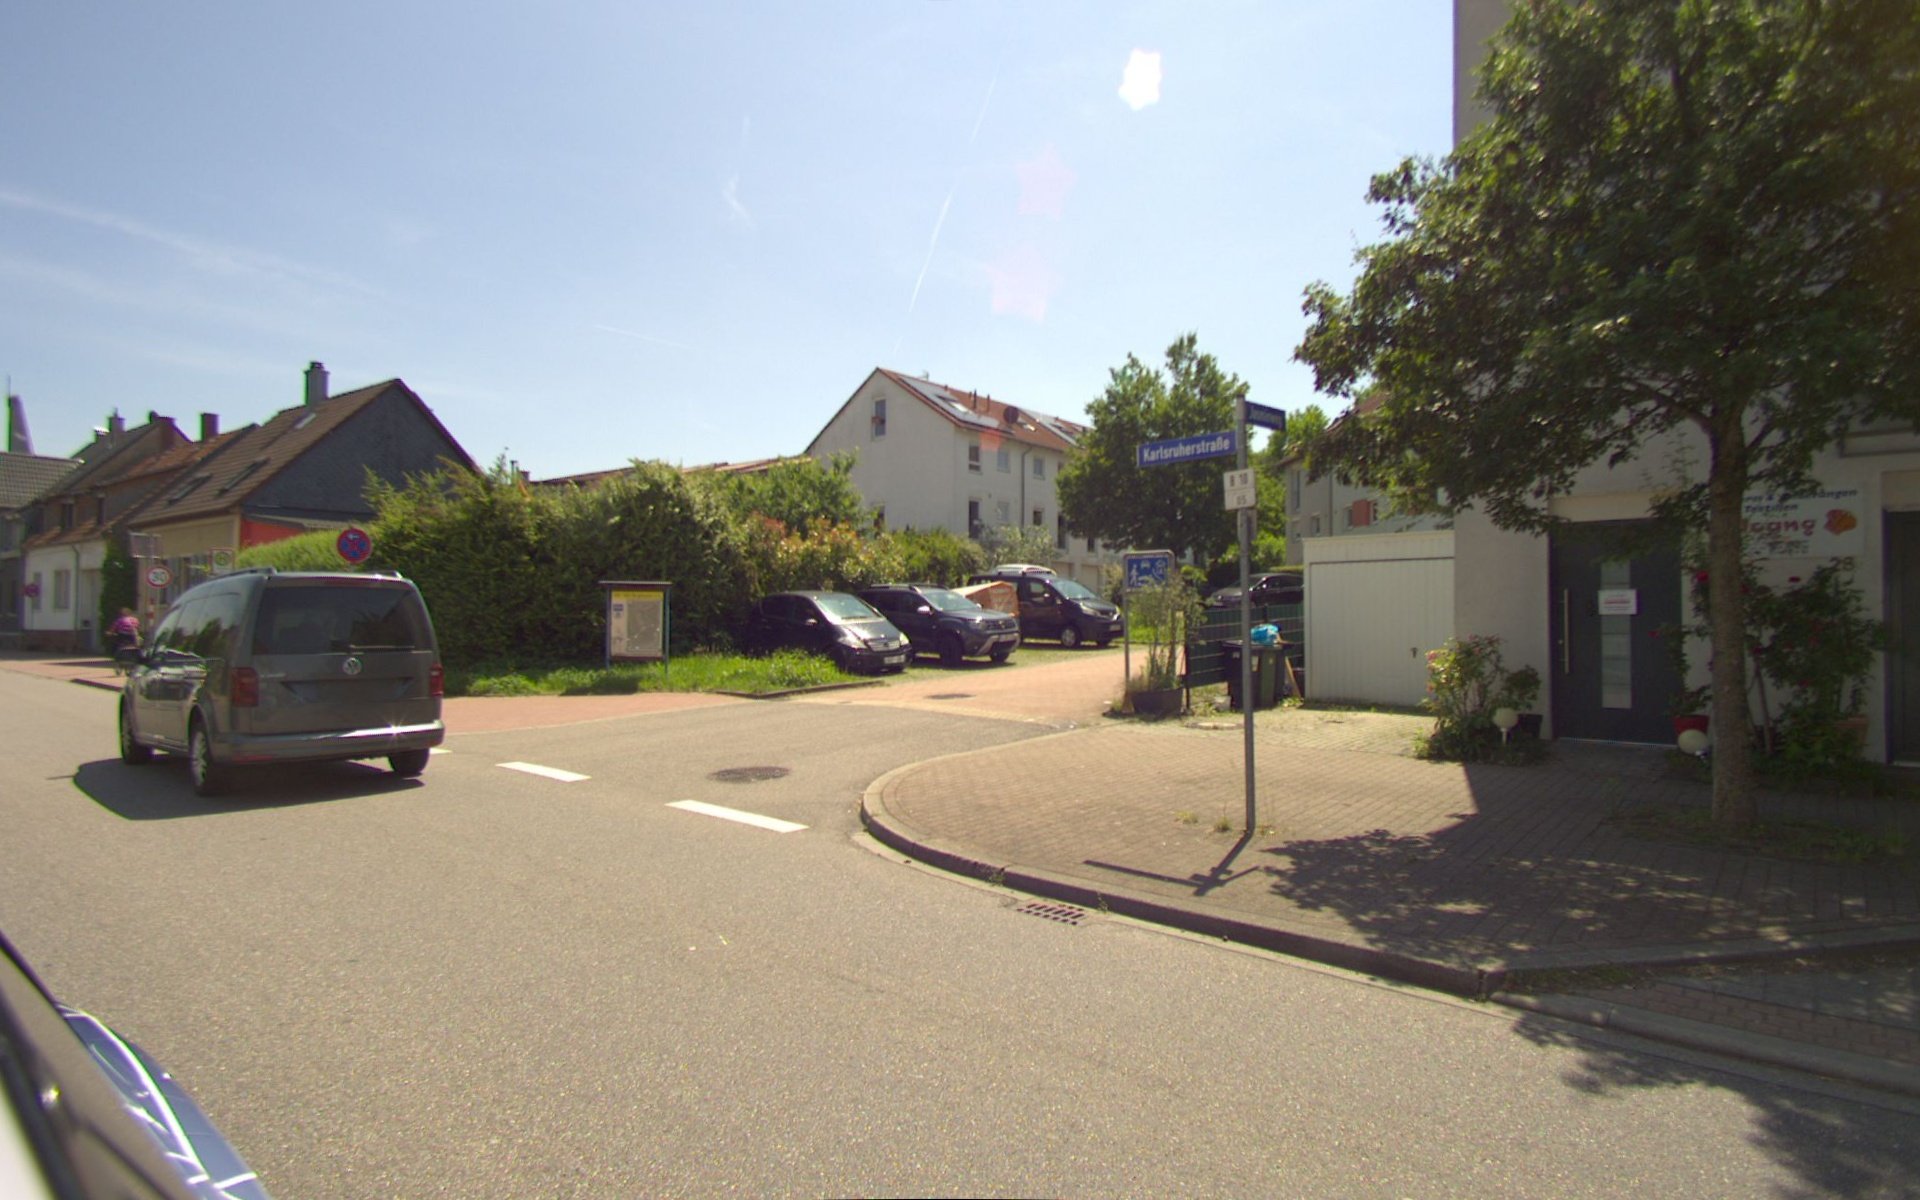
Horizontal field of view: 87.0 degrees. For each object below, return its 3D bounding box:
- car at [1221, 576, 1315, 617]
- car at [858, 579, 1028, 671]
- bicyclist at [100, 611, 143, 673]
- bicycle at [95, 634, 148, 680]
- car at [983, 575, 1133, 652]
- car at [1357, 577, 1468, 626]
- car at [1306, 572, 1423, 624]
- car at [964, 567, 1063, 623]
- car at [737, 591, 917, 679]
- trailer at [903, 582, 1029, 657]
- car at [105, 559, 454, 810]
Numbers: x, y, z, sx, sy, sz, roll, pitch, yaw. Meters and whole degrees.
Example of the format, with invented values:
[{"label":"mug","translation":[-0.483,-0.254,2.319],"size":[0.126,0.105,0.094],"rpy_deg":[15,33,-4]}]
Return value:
[{"label":"car","translation":[11.586,-0.133,37.984],"size":[3.580,1.463,1.595],"rpy_deg":[-1,0,-38]},{"label":"car","translation":[-0.419,0.496,21.784],"size":[3.511,1.793,1.605],"rpy_deg":[-1,1,44]},{"label":"bicyclist","translation":[-21.154,1.049,25.531],"size":[0.909,1.505,0.652],"rpy_deg":[-1,1,40]},{"label":"bicycle","translation":[-21.209,1.433,25.592],"size":[2.025,1.064,0.664],"rpy_deg":[-1,1,41]},{"label":"car","translation":[2.444,0.321,25.745],"size":[3.552,1.794,1.605],"rpy_deg":[-1,1,44]},{"label":"car","translation":[14.474,0.019,32.300],"size":[3.937,1.439,1.695],"rpy_deg":[-2,0,-41]},{"label":"car","translation":[13.754,-0.093,34.371],"size":[3.933,1.635,1.754],"rpy_deg":[-2,1,-33]},{"label":"car","translation":[1.807,-0.182,33.424],"size":[1.419,1.747,3.594],"rpy_deg":[0,1,38]},{"label":"car","translation":[-2.705,0.651,20.150],"size":[3.653,1.552,1.605],"rpy_deg":[-1,1,44]},{"label":"trailer","translation":[0.128,0.463,24.585],"size":[2.688,1.676,1.413],"rpy_deg":[-1,2,37]},{"label":"car","translation":[-6.623,0.685,9.639],"size":[4.462,1.869,1.638],"rpy_deg":[-1,-2,41]}]
